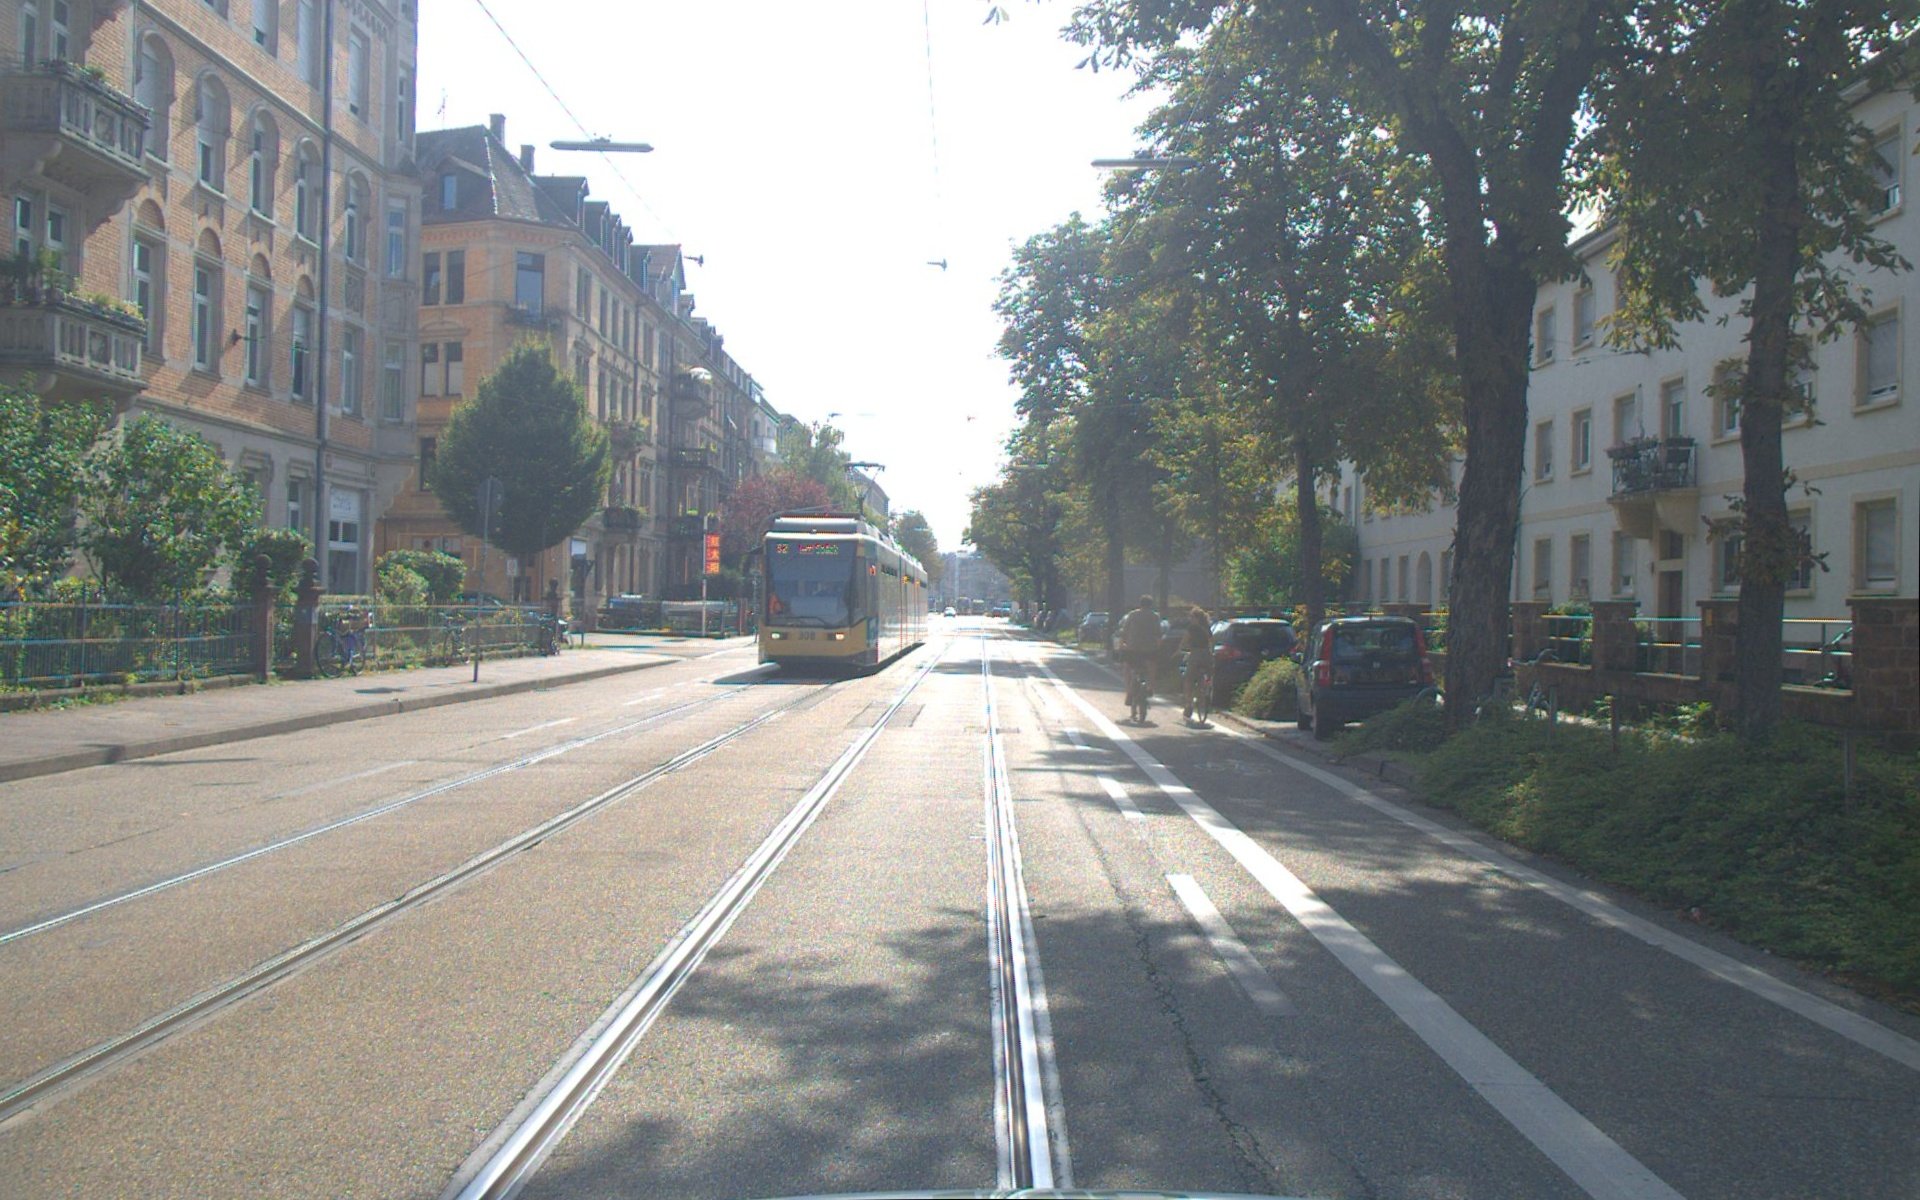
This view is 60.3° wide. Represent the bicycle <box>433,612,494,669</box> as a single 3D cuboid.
[{"bbox_3d":[-9.984,0.806,33.317,0.533,1.076,1.840,5,0,2],"label":"bicycle"}]

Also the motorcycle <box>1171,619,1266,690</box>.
[{"bbox_3d":[5.353,1.126,34.306,1.817,1.312,0.705,-3,4,-3],"label":"motorcycle"}]

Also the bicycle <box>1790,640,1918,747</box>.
[{"bbox_3d":[9.959,1.019,18.490,0.513,1.092,1.729,1,0,1],"label":"bicycle"}]

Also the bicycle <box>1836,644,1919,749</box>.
[{"bbox_3d":[10.558,1.062,18.613,0.513,1.092,1.729,1,0,1],"label":"bicycle"}]

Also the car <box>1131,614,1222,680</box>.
[{"bbox_3d":[5.288,1.114,40.857,1.655,1.460,4.336,-2,0,0],"label":"car"}]

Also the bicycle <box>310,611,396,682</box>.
[{"bbox_3d":[-10.028,0.749,27.382,0.594,1.076,1.840,5,0,2],"label":"bicycle"}]

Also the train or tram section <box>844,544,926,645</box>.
[{"bbox_3d":[-2.825,-0.167,65.318,2.678,3.567,10.775,1,0,0],"label":"train or tram section"}]

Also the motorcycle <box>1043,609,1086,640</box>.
[{"bbox_3d":[5.830,1.359,92.643,0.907,1.703,2.380,-1,0,-45],"label":"motorcycle"}]

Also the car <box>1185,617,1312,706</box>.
[{"bbox_3d":[5.147,1.059,29.981,1.611,1.473,4.246,-1,-1,1],"label":"car"}]

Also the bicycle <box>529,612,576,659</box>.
[{"bbox_3d":[-9.924,0.857,40.342,0.533,1.076,1.840,5,0,2],"label":"bicycle"}]

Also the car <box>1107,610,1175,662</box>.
[{"bbox_3d":[5.617,1.108,51.641,1.655,1.528,4.095,-1,-1,0],"label":"car"}]

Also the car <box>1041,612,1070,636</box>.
[{"bbox_3d":[6.256,1.560,108.469,1.691,1.531,3.984,-1,-1,1],"label":"car"}]

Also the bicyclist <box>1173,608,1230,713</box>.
[{"bbox_3d":[3.585,0.892,24.572,0.641,1.499,0.908,3,-1,0],"label":"bicyclist"}]

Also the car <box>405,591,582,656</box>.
[{"bbox_3d":[-12.303,0.629,43.820,4.052,1.570,2.064,2,-1,0],"label":"car"}]

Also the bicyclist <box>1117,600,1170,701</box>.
[{"bbox_3d":[2.682,0.728,24.266,0.613,1.425,0.929,3,-1,0],"label":"bicyclist"}]

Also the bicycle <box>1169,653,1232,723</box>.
[{"bbox_3d":[3.558,1.295,24.583,0.641,0.925,1.775,3,-1,0],"label":"bicycle"}]

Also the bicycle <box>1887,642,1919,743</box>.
[{"bbox_3d":[10.827,1.031,18.016,0.513,1.092,1.729,1,0,1],"label":"bicycle"}]

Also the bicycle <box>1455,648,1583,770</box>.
[{"bbox_3d":[5.391,1.020,15.895,0.516,1.092,1.718,1,-1,42],"label":"bicycle"}]

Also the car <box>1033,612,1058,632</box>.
[{"bbox_3d":[6.460,1.697,125.494,1.735,1.499,3.974,0,-1,1],"label":"car"}]

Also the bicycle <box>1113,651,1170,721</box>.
[{"bbox_3d":[2.650,1.247,24.249,0.613,0.925,1.525,3,-1,0],"label":"bicycle"}]

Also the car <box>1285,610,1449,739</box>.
[{"bbox_3d":[5.392,0.940,22.290,1.610,1.567,3.844,-1,-1,6],"label":"car"}]

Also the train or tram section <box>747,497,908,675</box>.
[{"bbox_3d":[-2.939,-0.252,41.473,2.678,3.567,15.432,1,0,0],"label":"train or tram section"}]

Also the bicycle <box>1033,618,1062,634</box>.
[{"bbox_3d":[6.436,1.899,121.836,2.066,1.125,0.562,1,-1,-7],"label":"bicycle"}]

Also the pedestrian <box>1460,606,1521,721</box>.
[{"bbox_3d":[8.454,1.000,26.377,0.736,1.779,0.879,1,0,7],"label":"pedestrian"}]

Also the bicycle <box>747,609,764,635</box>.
[{"bbox_3d":[-9.323,0.997,75.450,0.498,1.127,2.003,1,-1,1],"label":"bicycle"}]

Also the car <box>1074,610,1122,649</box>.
[{"bbox_3d":[5.826,1.225,70.105,1.707,1.588,4.719,0,-1,1],"label":"car"}]

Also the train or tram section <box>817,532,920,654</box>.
[{"bbox_3d":[-2.858,-0.175,54.522,2.678,3.567,10.775,1,0,0],"label":"train or tram section"}]
